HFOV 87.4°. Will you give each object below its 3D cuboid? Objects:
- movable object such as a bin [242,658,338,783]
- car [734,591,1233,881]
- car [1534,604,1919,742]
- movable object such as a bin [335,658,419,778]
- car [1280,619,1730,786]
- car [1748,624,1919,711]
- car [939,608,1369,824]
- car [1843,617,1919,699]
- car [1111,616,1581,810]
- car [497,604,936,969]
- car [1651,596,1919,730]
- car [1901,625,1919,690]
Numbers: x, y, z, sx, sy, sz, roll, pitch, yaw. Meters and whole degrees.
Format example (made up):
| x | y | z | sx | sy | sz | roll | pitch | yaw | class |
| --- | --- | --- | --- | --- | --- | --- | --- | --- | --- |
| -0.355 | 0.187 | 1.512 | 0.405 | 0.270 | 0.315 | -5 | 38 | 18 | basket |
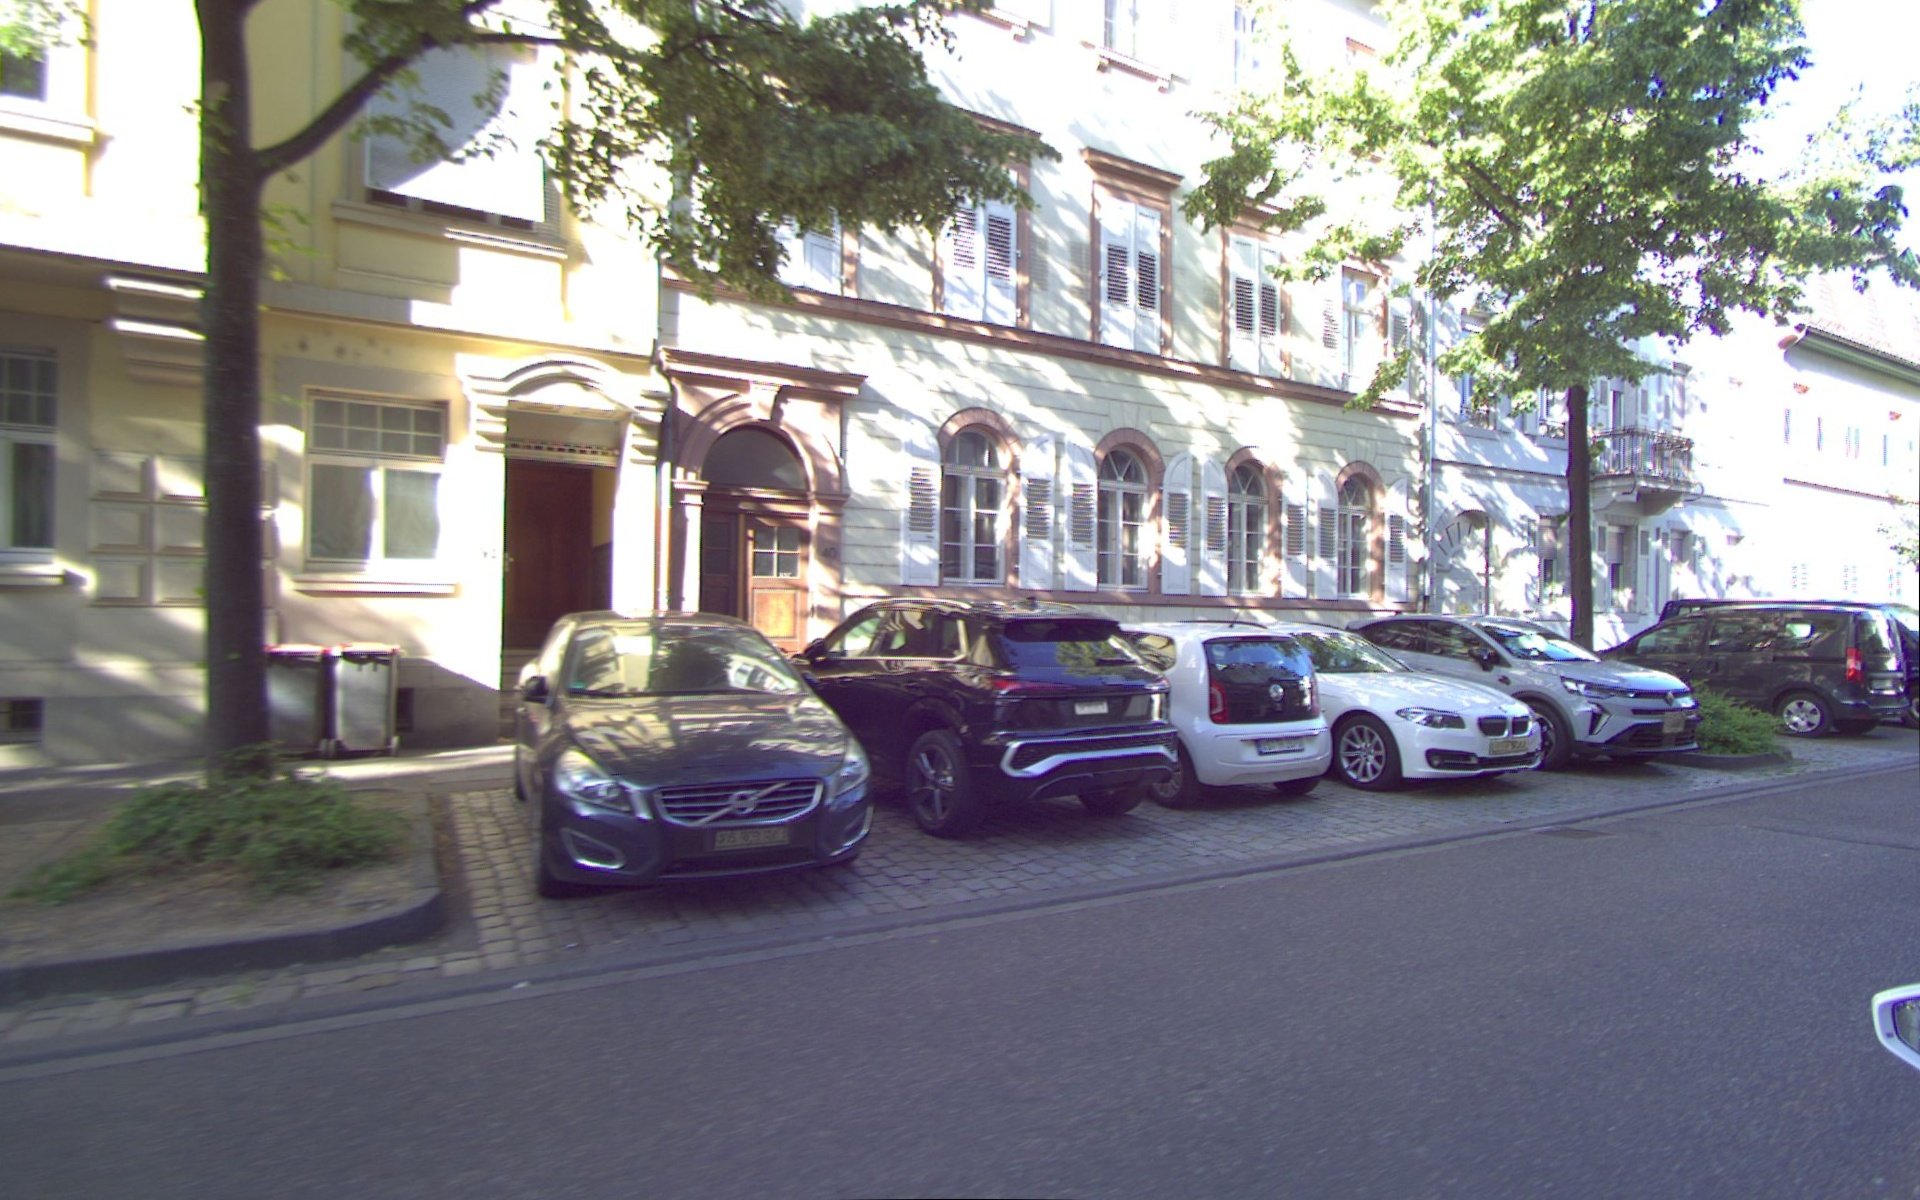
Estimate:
| x | y | z | sx | sy | sz | roll | pitch | yaw | class |
| --- | --- | --- | --- | --- | --- | --- | --- | --- | --- |
| -6.248 | 1.102 | 9.402 | 0.676 | 1.090 | 0.638 | 1 | -2 | -29 | movable object such as a bin |
| -0.088 | 0.854 | 8.326 | 1.899 | 1.732 | 4.308 | 1 | -1 | -37 | car |
| 11.607 | 0.997 | 15.530 | 1.892 | 1.795 | 4.449 | 1 | -1 | -28 | car |
| -5.633 | 1.116 | 9.739 | 0.676 | 1.090 | 0.638 | 1 | -2 | -29 | movable object such as a bin |
| 6.093 | 1.017 | 11.886 | 1.891 | 1.561 | 4.452 | 1 | -1 | -26 | car |
| 17.281 | 1.198 | 18.083 | 1.663 | 1.478 | 4.625 | 1 | -1 | -29 | car |
| 1.594 | 0.907 | 9.828 | 1.787 | 1.603 | 4.320 | 1 | -1 | -29 | car |
| 21.725 | 1.240 | 20.952 | 1.785 | 1.735 | 4.662 | 1 | -1 | -28 | car |
| 3.720 | 0.962 | 10.555 | 1.894 | 1.561 | 4.445 | 1 | -1 | -30 | car |
| -1.969 | 0.845 | 6.745 | 1.892 | 1.561 | 4.450 | 1 | -1 | -27 | car |
| 14.381 | 0.968 | 16.529 | 1.892 | 1.976 | 4.662 | 1 | -1 | -28 | car |
| 24.232 | 1.339 | 22.235 | 1.785 | 1.539 | 4.662 | 1 | -1 | -28 | car |
